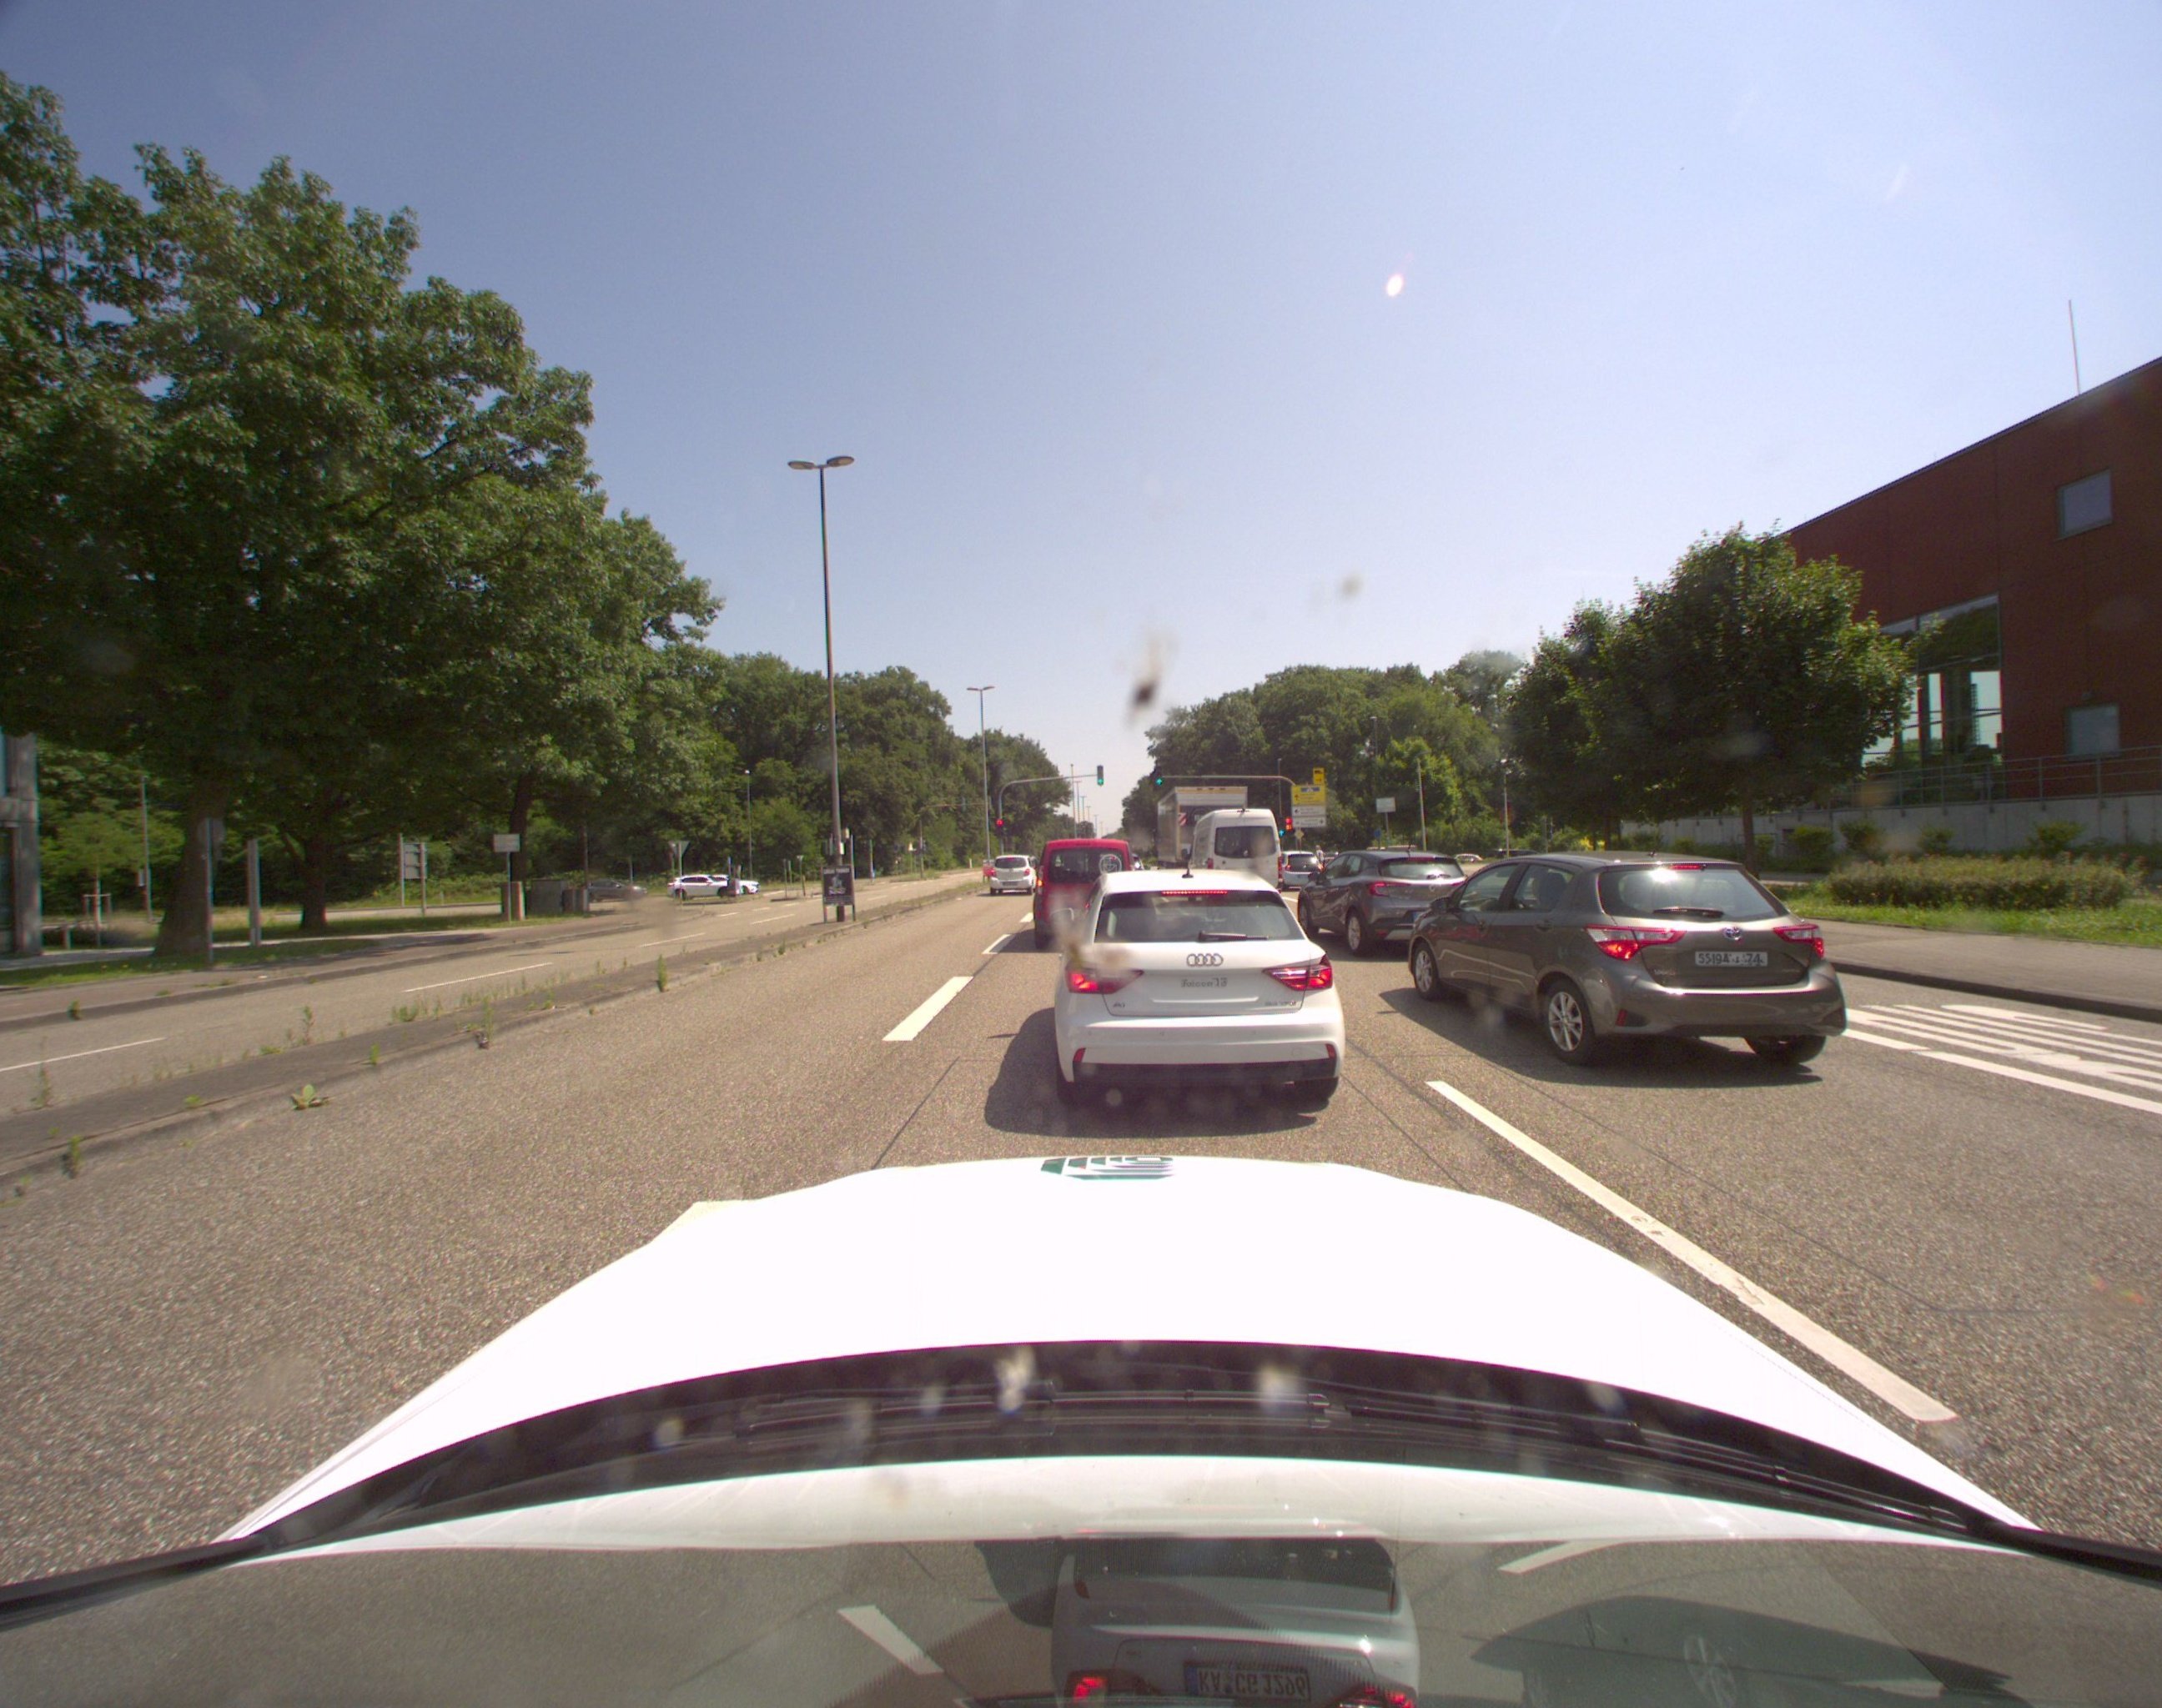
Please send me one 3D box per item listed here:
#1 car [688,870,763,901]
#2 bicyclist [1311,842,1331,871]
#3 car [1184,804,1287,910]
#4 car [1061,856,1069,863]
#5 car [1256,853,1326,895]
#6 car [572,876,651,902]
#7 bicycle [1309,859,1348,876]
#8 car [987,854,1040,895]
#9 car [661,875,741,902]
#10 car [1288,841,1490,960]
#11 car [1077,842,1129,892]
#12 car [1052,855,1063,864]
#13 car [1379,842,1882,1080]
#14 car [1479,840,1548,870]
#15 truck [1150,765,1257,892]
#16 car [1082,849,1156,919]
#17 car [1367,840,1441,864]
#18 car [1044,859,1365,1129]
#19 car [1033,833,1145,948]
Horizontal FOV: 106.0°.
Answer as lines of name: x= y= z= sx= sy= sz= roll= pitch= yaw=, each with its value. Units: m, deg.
car: x=-24.944 y=2.176 z=57.247 sx=4.367 sy=1.681 sz=1.806 roll=-6 pitch=0 yaw=-7
bicyclist: x=12.462 y=0.138 z=42.299 sx=0.824 sy=1.439 sz=0.599 roll=-2 pitch=0 yaw=-2
car: x=4.230 y=0.084 z=23.108 sx=2.024 sy=2.644 sz=4.845 roll=-1 pitch=0 yaw=1
car: x=-3.970 y=1.407 z=202.375 sx=1.824 sy=1.728 sz=4.001 roll=-2 pitch=0 yaw=1
car: x=8.213 y=0.743 z=32.196 sx=1.706 sy=1.546 sz=4.091 roll=-1 pitch=0 yaw=0
car: x=-32.568 y=2.419 z=56.610 sx=4.370 sy=1.681 sz=1.804 roll=0 pitch=-1 yaw=-10
bicycle: x=12.857 y=0.688 z=42.280 sx=1.817 sy=0.766 sz=0.600 roll=-2 pitch=0 yaw=-2
car: x=-2.612 y=0.776 z=32.296 sx=1.706 sy=1.493 sz=4.091 roll=-1 pitch=0 yaw=0
car: x=-24.857 y=2.269 z=53.423 sx=4.366 sy=1.681 sz=1.806 roll=0 pitch=-1 yaw=-7
car: x=4.737 y=0.638 z=13.199 sx=1.706 sy=1.593 sz=4.091 roll=-1 pitch=0 yaw=0
car: x=0.730 y=0.435 z=28.996 sx=1.706 sy=1.631 sz=4.091 roll=-1 pitch=0 yaw=0
car: x=-5.144 y=1.192 z=177.898 sx=1.987 sy=1.772 sz=4.205 roll=-2 pitch=0 yaw=1
car: x=4.260 y=0.687 z=7.238 sx=1.706 sy=1.478 sz=4.091 roll=1 pitch=0 yaw=0
car: x=32.111 y=0.068 z=60.533 sx=3.972 sy=2.013 sz=2.001 roll=-2 pitch=0 yaw=2
truck: x=4.781 y=-0.901 z=34.426 sx=3.077 sy=4.434 sz=11.584 roll=-1 pitch=0 yaw=2
car: x=0.900 y=0.707 z=21.222 sx=1.706 sy=1.631 sz=4.091 roll=-1 pitch=0 yaw=0
car: x=22.880 y=-0.143 z=57.771 sx=4.455 sy=1.530 sz=1.798 roll=-2 pitch=0 yaw=1
car: x=0.670 y=0.765 z=6.426 sx=1.706 sy=1.386 sz=4.091 roll=-1 pitch=0 yaw=0
car: x=0.123 y=0.564 z=14.716 sx=1.706 sy=1.748 sz=4.091 roll=-1 pitch=0 yaw=0
